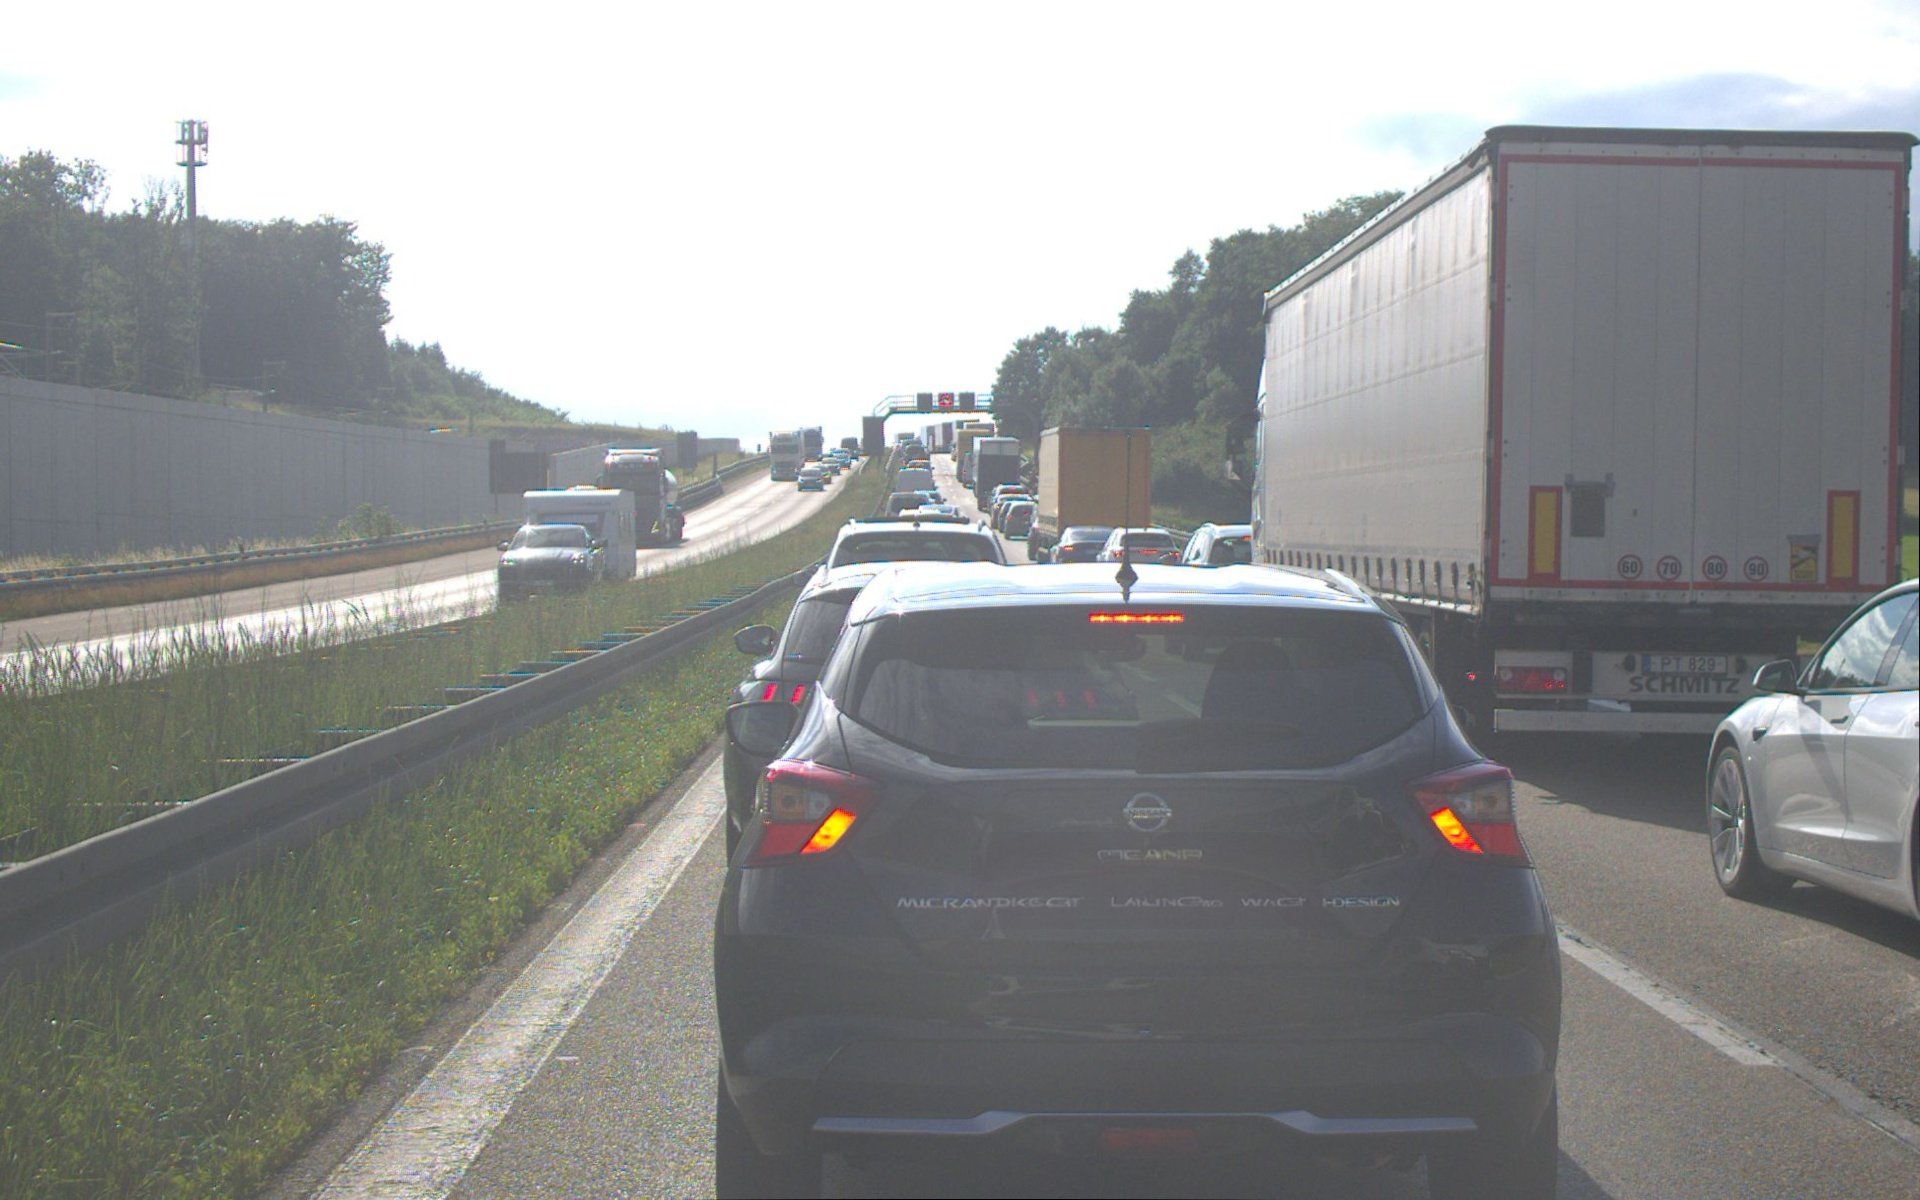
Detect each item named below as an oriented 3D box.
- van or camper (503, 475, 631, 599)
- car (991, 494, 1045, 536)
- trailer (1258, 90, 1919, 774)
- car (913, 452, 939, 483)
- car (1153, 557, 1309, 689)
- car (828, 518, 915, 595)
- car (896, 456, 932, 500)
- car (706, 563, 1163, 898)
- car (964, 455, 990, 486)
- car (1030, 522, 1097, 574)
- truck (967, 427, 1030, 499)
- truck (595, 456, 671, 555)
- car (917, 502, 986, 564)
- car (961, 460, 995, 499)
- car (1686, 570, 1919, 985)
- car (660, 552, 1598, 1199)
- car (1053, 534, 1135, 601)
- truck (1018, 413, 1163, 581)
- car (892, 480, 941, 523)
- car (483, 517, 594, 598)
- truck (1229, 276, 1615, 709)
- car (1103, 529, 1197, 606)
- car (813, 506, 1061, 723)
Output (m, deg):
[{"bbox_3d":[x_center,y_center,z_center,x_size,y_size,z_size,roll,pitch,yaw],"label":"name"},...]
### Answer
[{"bbox_3d":[-8.945,-1.439,78.787,2.252,2.694,7.171,0,1,-1],"label":"van or camper"},{"bbox_3d":[2.396,-3.553,143.023,1.873,1.638,4.233,0,2,-4],"label":"car"},{"bbox_3d":[4.516,-0.984,26.930,3.130,3.997,13.366,1,0,0],"label":"trailer"},{"bbox_3d":[-2.524,-9.745,251.947,1.873,2.151,5.212,0,4,-1],"label":"car"},{"bbox_3d":[3.455,0.258,44.474,1.697,1.605,4.437,0,1,1],"label":"car"},{"bbox_3d":[-1.958,-1.011,77.360,1.873,1.638,4.233,0,2,0],"label":"car"},{"bbox_3d":[-2.398,-6.397,179.619,1.873,2.151,5.212,0,4,-1],"label":"car"},{"bbox_3d":[-0.122,0.514,16.235,1.873,1.353,4.232,0,1,0],"label":"car"},{"bbox_3d":[1.266,-9.618,255.262,1.873,2.151,5.212,0,4,-1],"label":"car"},{"bbox_3d":[3.340,-1.703,111.752,1.873,1.638,4.233,0,1,-2],"label":"car"},{"bbox_3d":[2.469,-8.966,225.728,3.464,4.561,12.443,1,2,-2],"label":"truck"},{"bbox_3d":[-13.419,-3.849,141.326,2.582,3.909,5.722,-1,1,-1],"label":"truck"},{"bbox_3d":[-0.240,-1.884,95.902,1.873,1.638,4.233,0,2,0],"label":"car"},{"bbox_3d":[1.017,-7.027,199.993,1.873,2.151,5.212,0,4,-1],"label":"car"},{"bbox_3d":[4.163,0.609,12.978,1.788,1.389,4.437,0,1,-2],"label":"car"},{"bbox_3d":[0.304,0.606,8.624,1.773,1.446,4.232,0,1,0],"label":"car"},{"bbox_3d":[3.371,-0.840,87.280,1.873,1.638,4.232,0,1,0],"label":"car"},{"bbox_3d":[3.696,-2.877,100.766,3.296,4.562,12.442,1,0,-2],"label":"truck"},{"bbox_3d":[-1.722,-3.907,136.073,1.873,1.638,4.233,0,2,-2],"label":"car"},{"bbox_3d":[-8.915,-0.907,73.011,1.910,1.666,4.362,0,1,-1],"label":"car"},{"bbox_3d":[4.503,-1.008,34.595,3.133,4.002,5.163,1,0,0],"label":"truck"},{"bbox_3d":[4.272,-0.757,77.823,1.873,1.638,4.233,0,2,0],"label":"car"},{"bbox_3d":[-0.190,0.081,28.088,1.873,1.638,4.232,0,1,0],"label":"car"}]
